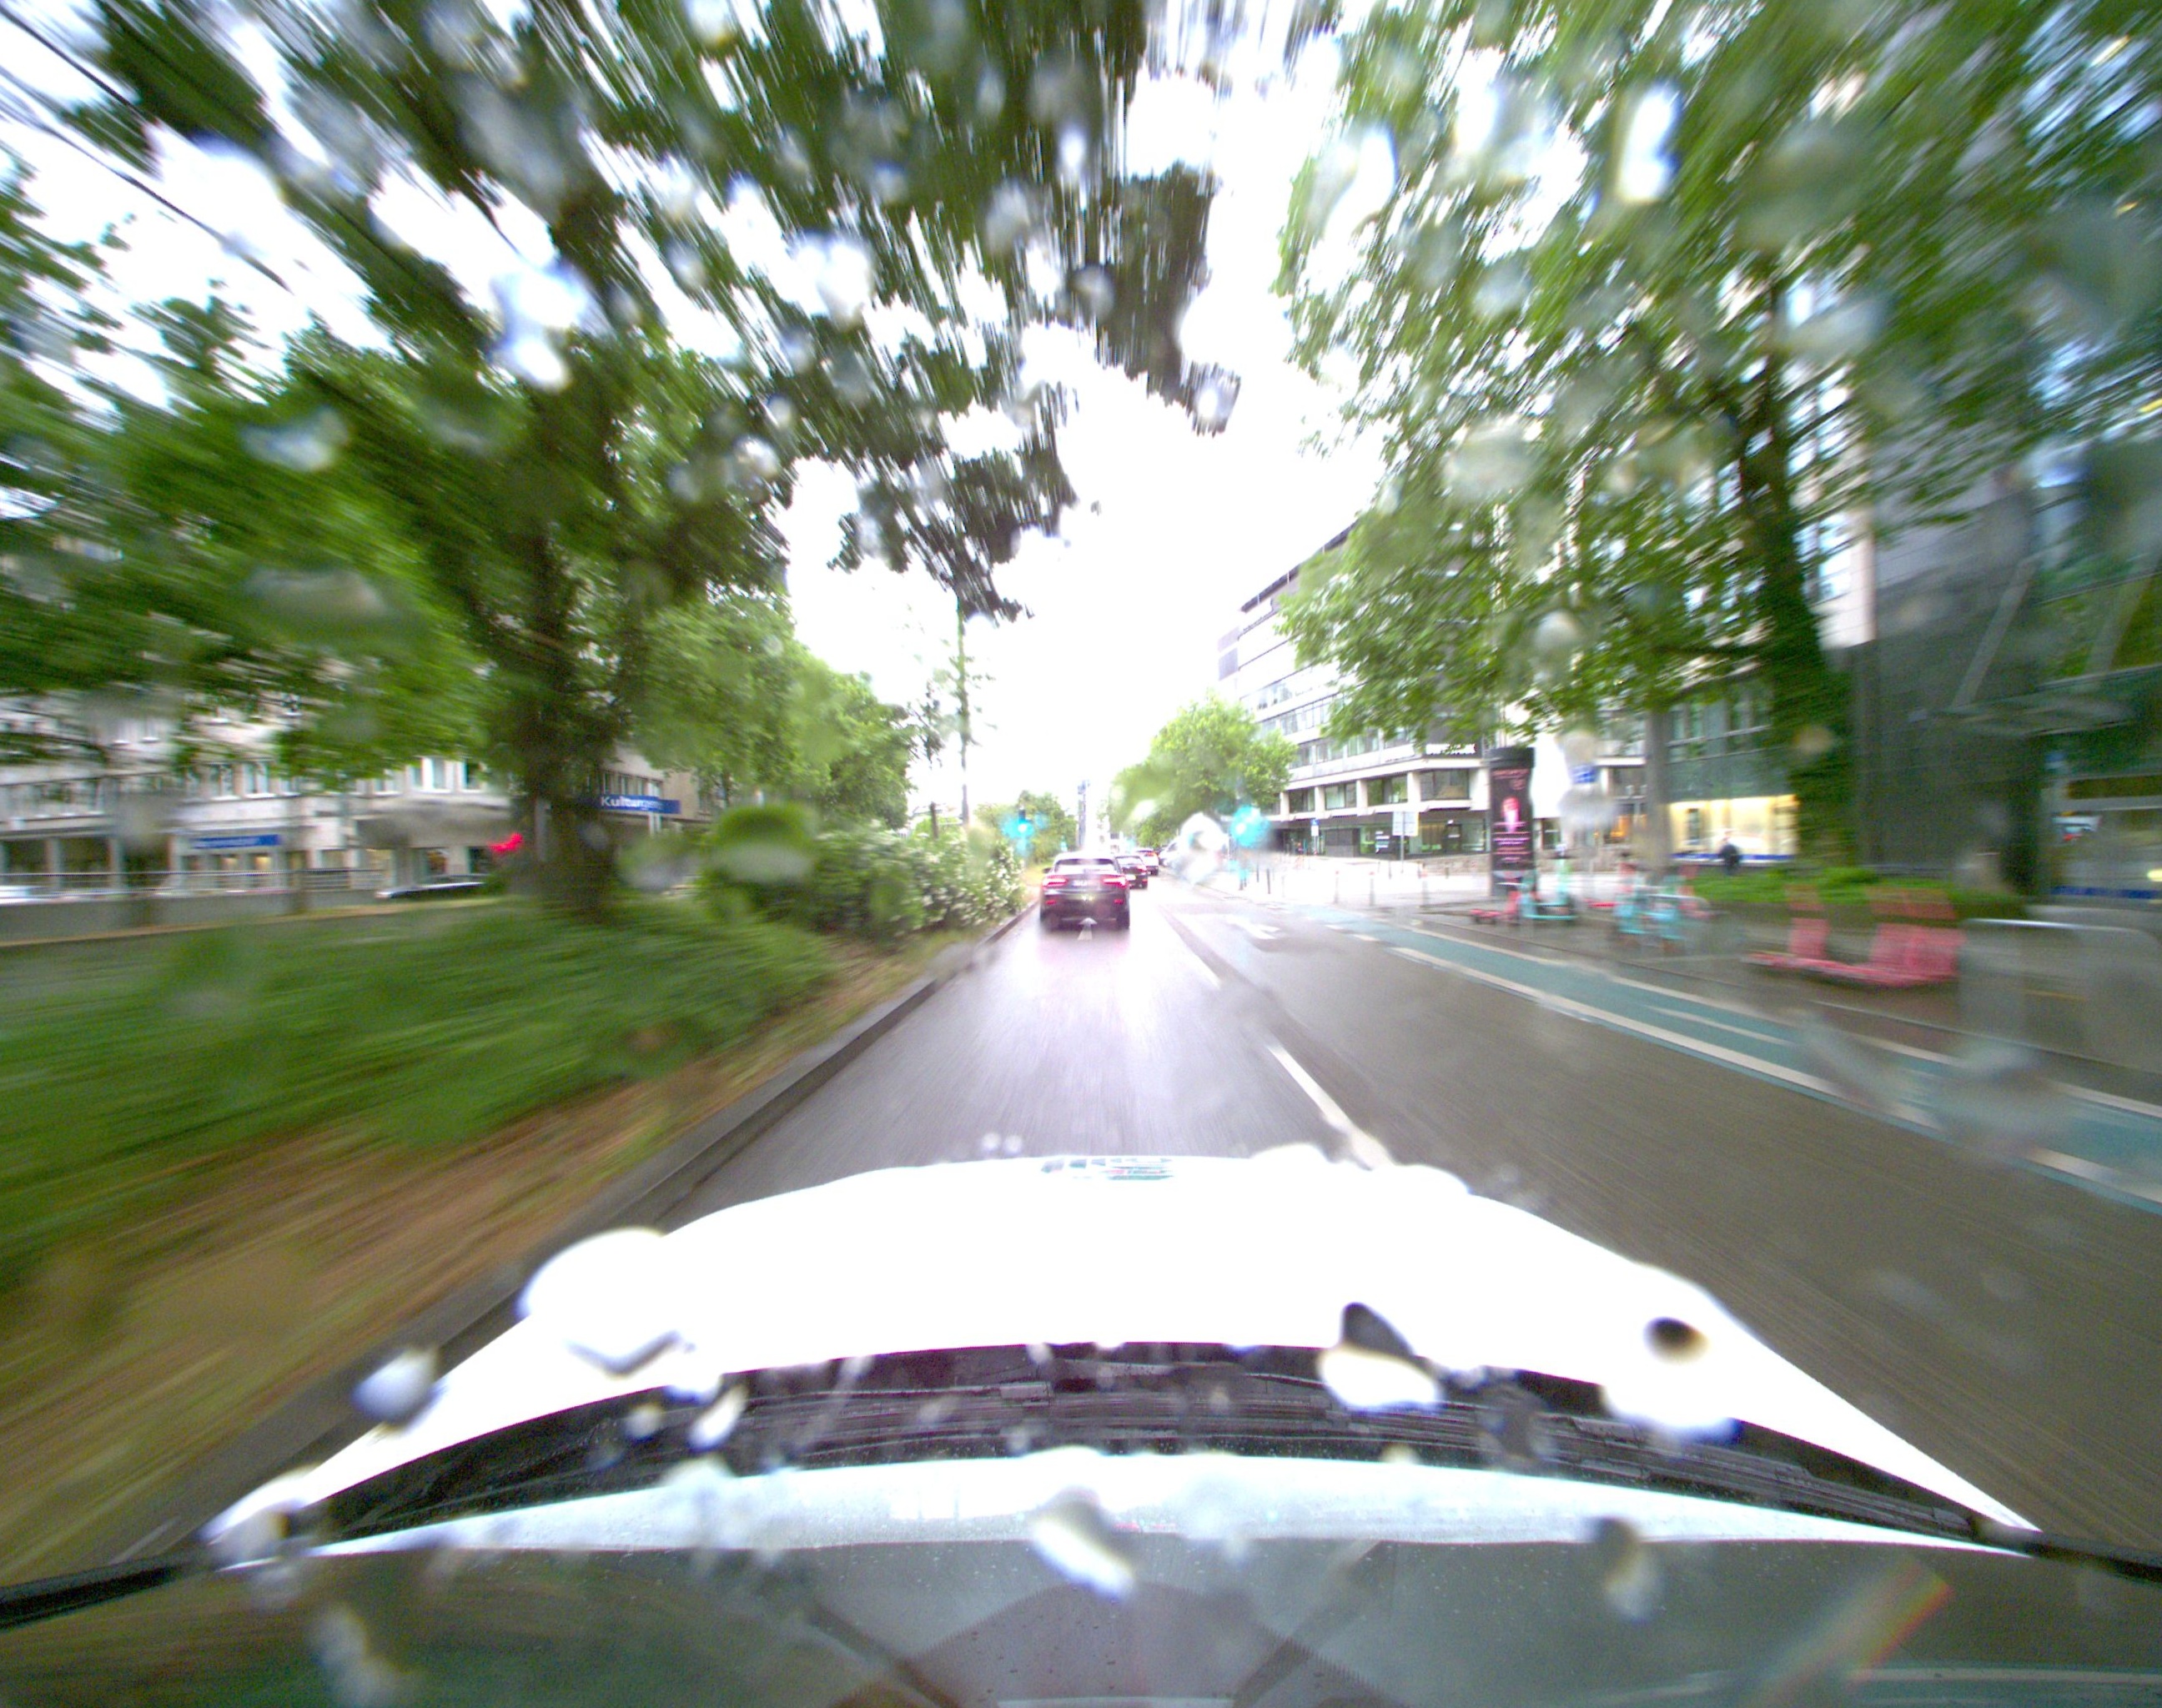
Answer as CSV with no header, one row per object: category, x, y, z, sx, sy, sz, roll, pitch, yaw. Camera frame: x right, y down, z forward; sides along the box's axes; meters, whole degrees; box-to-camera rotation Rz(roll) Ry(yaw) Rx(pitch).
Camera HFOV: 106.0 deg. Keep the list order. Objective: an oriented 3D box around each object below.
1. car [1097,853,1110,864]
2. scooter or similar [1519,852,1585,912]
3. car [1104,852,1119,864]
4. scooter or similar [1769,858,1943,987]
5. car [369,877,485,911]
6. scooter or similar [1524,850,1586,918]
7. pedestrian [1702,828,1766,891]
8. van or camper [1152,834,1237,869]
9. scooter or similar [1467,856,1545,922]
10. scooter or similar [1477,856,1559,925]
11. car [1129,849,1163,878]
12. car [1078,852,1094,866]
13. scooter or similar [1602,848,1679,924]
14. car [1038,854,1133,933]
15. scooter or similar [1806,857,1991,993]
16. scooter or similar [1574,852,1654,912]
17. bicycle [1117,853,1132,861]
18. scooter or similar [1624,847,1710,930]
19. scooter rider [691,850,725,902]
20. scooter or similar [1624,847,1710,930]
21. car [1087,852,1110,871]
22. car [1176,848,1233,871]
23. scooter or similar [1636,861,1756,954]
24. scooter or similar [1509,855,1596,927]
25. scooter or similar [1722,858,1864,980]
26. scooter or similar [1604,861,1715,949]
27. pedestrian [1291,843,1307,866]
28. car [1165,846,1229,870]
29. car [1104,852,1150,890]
car,3.362,0.697,120.205,1.843,1.523,4.039,-1,0,1
scooter or similar,9.905,0.578,17.181,0.487,1.198,1.290,-1,-1,-8
car,3.956,0.471,105.501,1.843,1.523,4.039,-1,0,1
scooter or similar,8.298,0.717,8.751,1.283,1.278,0.538,-3,1,5
car,-25.816,1.544,32.213,1.497,1.177,3.433,-1,0,45
scooter or similar,9.481,0.571,16.330,0.486,1.259,1.294,-3,1,1
pedestrian,19.885,0.169,24.832,0.914,1.850,1.276,0,-1,0
van or camper,8.709,-0.174,62.477,6.008,2.558,2.117,-1,0,28
scooter or similar,8.507,0.701,16.336,1.280,1.259,0.491,-2,1,12
scooter or similar,8.416,0.694,15.725,1.280,1.259,0.491,-2,1,12
car,3.960,0.566,50.384,1.843,1.669,4.039,-1,0,1
car,0.599,0.539,94.001,1.843,1.523,4.039,-1,0,1
scooter or similar,10.010,0.545,14.618,0.486,1.259,1.294,-3,1,1
car,0.114,0.777,17.956,1.843,1.523,4.038,-1,0,0
scooter or similar,8.304,0.711,8.307,1.283,1.278,0.538,-3,1,5
scooter or similar,11.066,0.566,16.942,0.490,1.198,1.281,-1,-1,-30
bicycle,7.419,0.458,138.955,2.335,1.312,0.708,-1,0,-7
scooter or similar,9.602,0.533,13.392,0.486,1.259,1.294,-3,1,1
scooter rider,-14.222,0.820,31.058,0.897,1.940,0.757,-1,0,-2
scooter or similar,9.602,0.533,13.392,0.486,1.259,1.294,-3,1,1
car,1.459,0.605,68.534,1.843,1.523,4.039,-1,0,1
car,8.575,0.376,56.463,3.618,1.547,1.723,-1,0,20
scooter or similar,8.715,0.749,11.568,1.284,1.235,0.489,-3,1,3
scooter or similar,8.777,0.685,15.187,1.280,1.259,0.491,-2,1,12
scooter or similar,8.241,0.726,9.436,1.289,1.278,0.535,-3,1,-10
scooter or similar,8.731,0.758,12.313,1.284,1.235,0.489,-3,1,3
pedestrian,16.000,0.040,59.730,0.803,1.696,1.186,0,0,-4
car,8.414,0.291,59.115,4.217,1.667,1.829,-1,0,27
car,1.917,0.700,35.028,1.843,1.523,4.039,-1,0,1
